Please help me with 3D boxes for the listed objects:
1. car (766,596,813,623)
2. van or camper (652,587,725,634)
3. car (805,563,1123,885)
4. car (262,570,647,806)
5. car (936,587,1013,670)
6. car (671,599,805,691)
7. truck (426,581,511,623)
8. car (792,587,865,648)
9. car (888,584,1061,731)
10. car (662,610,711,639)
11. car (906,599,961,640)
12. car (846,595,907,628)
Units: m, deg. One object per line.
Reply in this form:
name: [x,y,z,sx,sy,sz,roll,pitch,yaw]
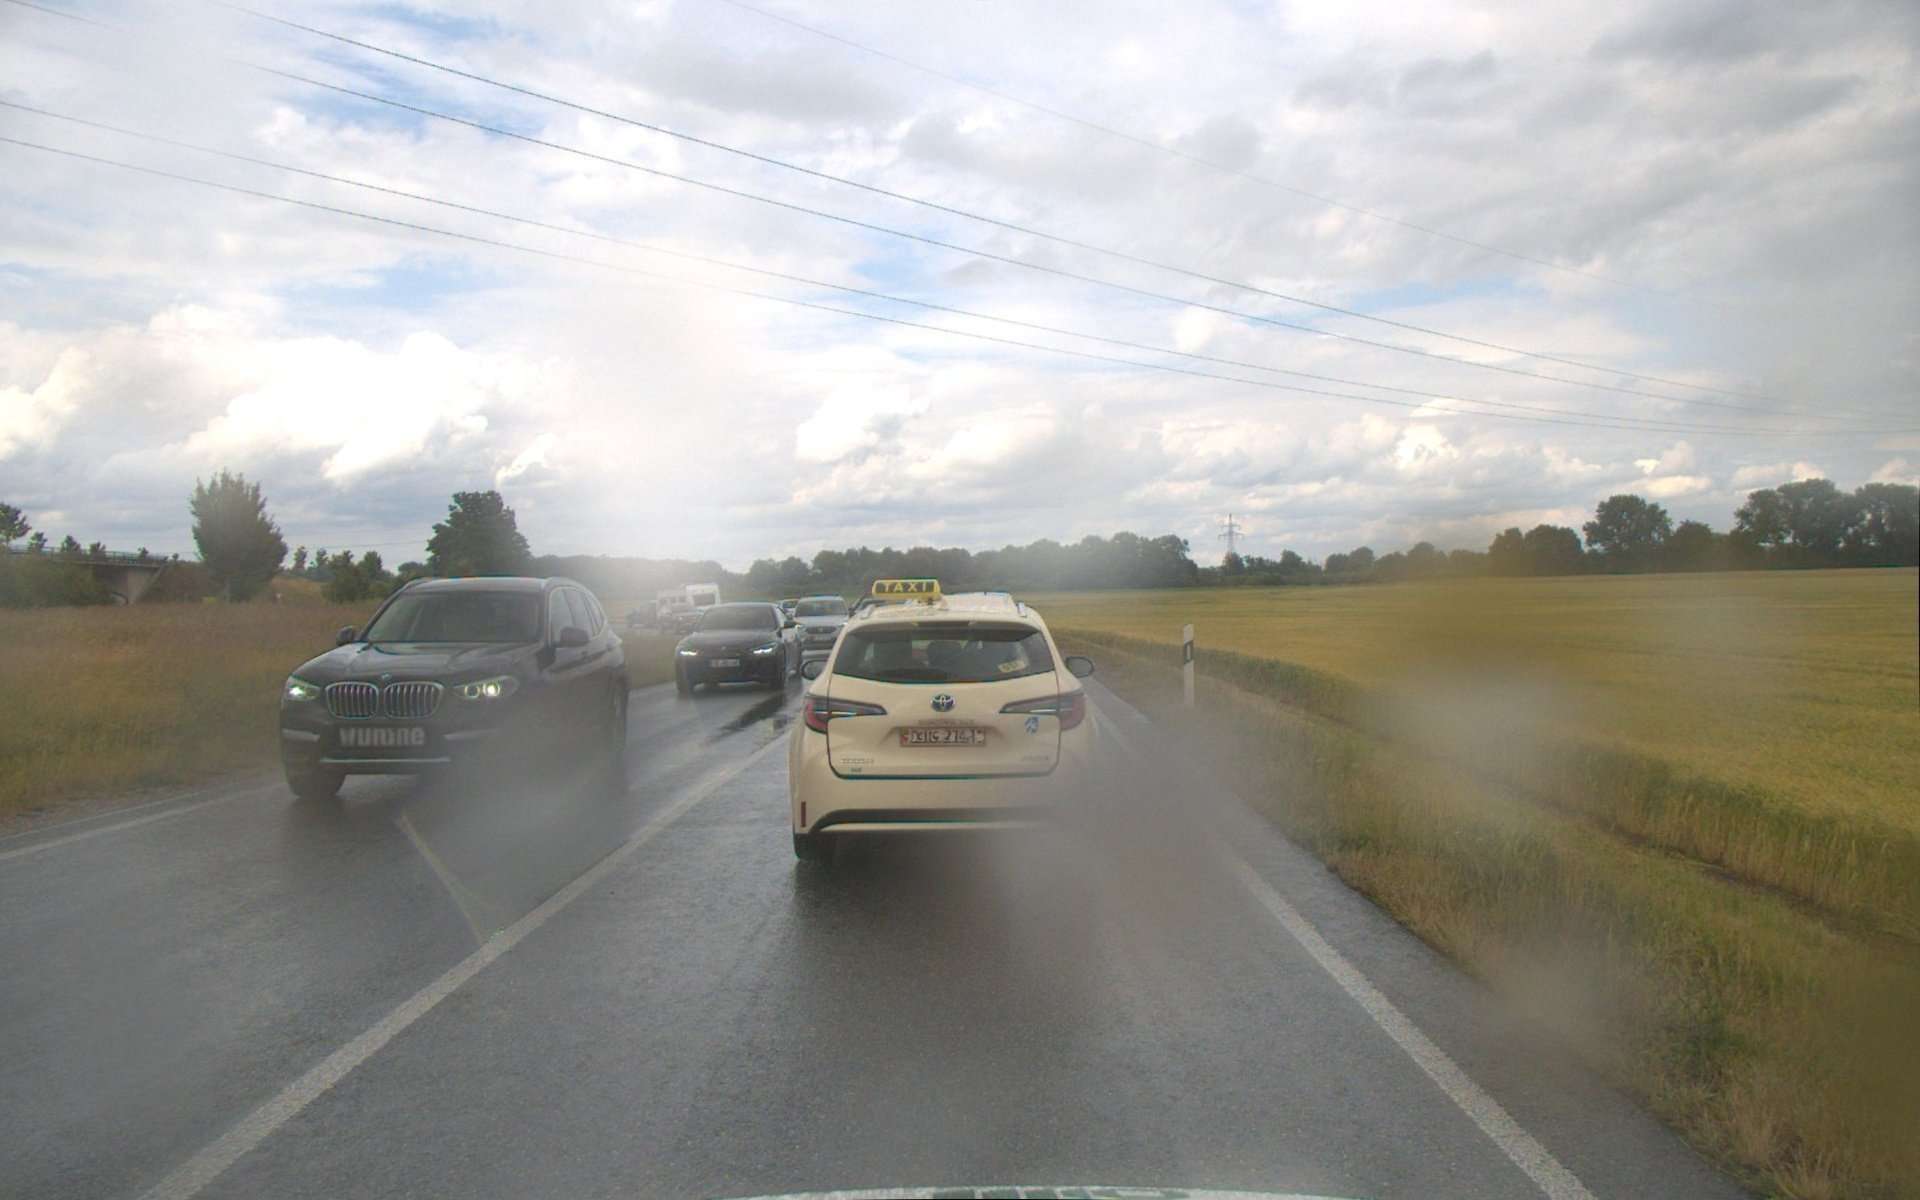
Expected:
car: [-9.541,0.538,92.400,1.757,1.438,3.716,2,-2,-20]
van or camper: [-17.794,0.648,108.092,2.510,2.946,6.673,1,0,-30]
car: [0.088,0.674,10.271,1.579,1.590,3.739,1,-1,2]
car: [-3.999,0.626,13.947,1.811,1.660,4.534,0,0,0]
car: [0.348,0.638,36.452,1.579,1.688,3.738,1,-1,1]
car: [-3.826,0.738,29.114,1.811,1.473,4.090,-1,0,0]
truck: [-40.248,0.140,135.293,8.090,3.266,3.003,0,-2,44]
car: [-3.703,0.473,47.021,1.871,1.637,4.089,-1,0,-2]
car: [0.113,0.627,19.915,1.804,1.518,4.607,1,0,-1]
car: [-15.919,1.427,96.263,1.736,1.586,3.966,2,-2,-26]
car: [-1.014,0.759,61.553,1.583,1.438,3.731,2,-1,-8]
car: [-3.914,0.566,76.991,1.927,1.438,4.374,2,-2,-15]
